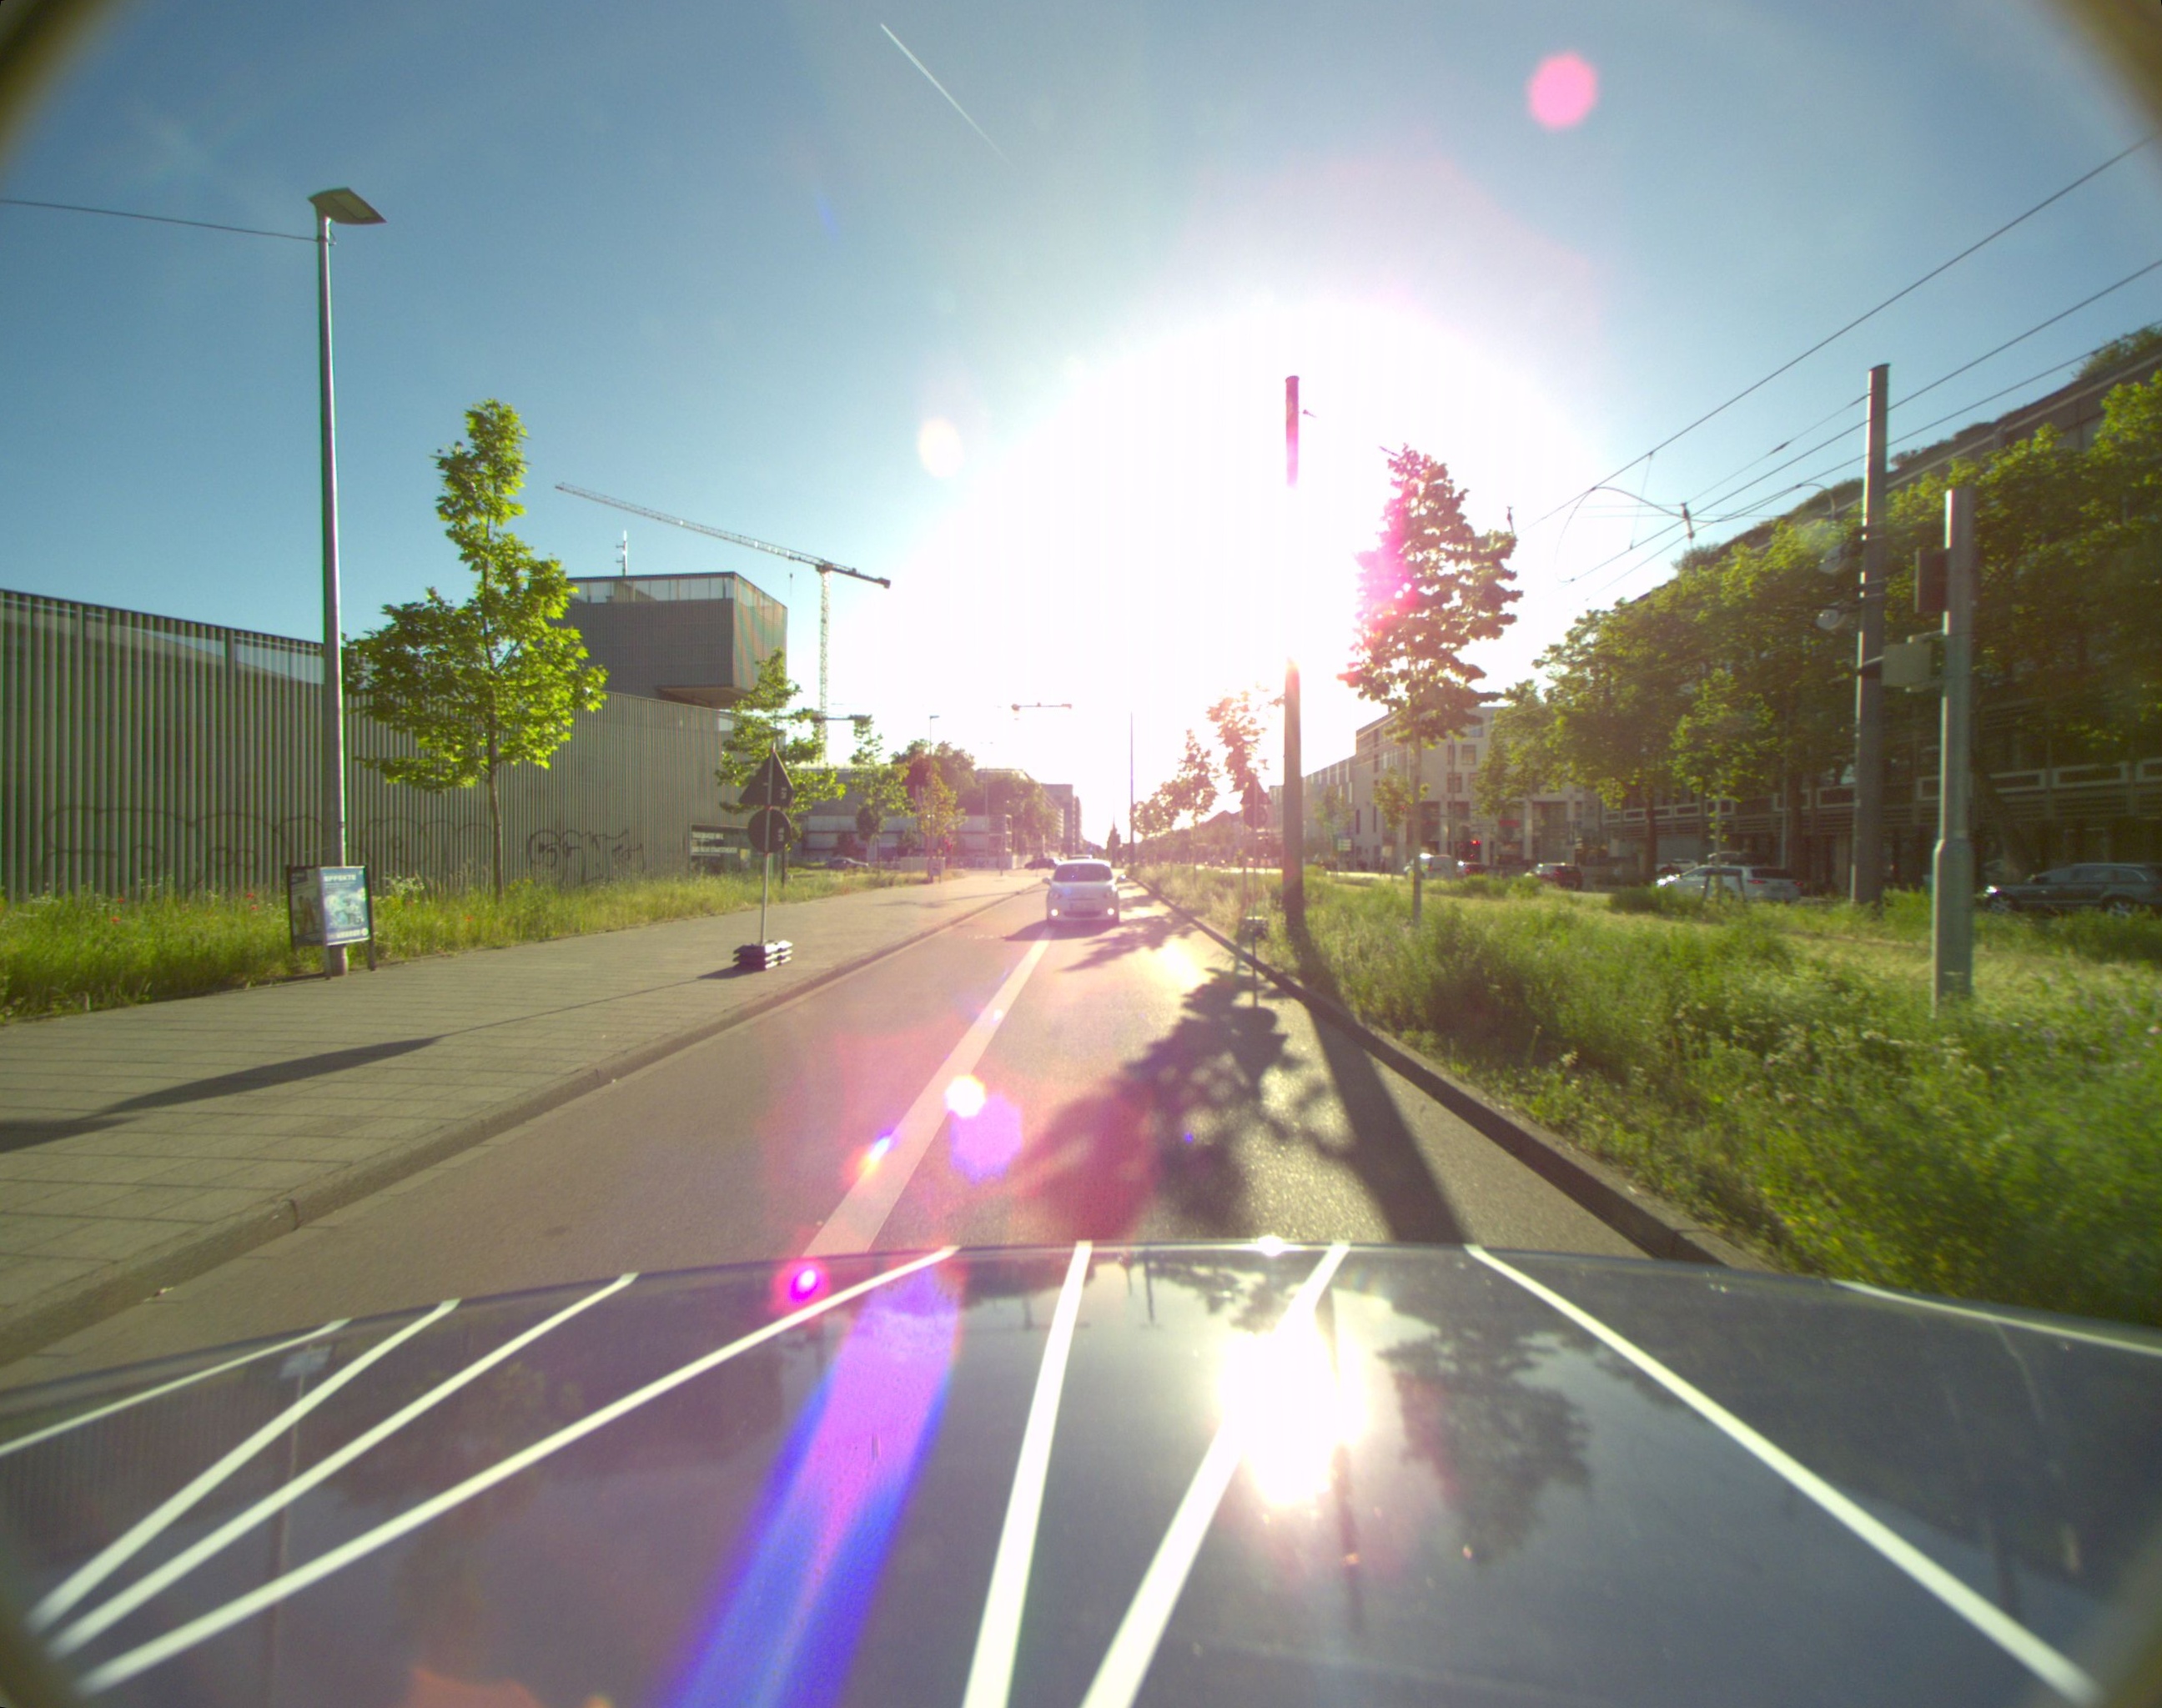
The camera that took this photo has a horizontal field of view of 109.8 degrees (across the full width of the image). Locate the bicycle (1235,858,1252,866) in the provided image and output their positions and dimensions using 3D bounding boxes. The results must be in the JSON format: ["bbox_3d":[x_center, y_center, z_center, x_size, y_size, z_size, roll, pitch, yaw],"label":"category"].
[{"bbox_3d":[20.737,1.060,97.044,1.976,0.991,0.649,-1,0,6],"label":"bicycle"}]

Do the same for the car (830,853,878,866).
[{"bbox_3d":[-23.894,0.578,79.995,4.519,1.344,1.777,0,1,8],"label":"car"}]

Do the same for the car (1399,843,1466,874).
[{"bbox_3d":[24.562,0.311,53.388,2.264,2.002,5.710,2,0,3],"label":"car"}]

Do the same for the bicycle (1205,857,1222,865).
[{"bbox_3d":[17.010,0.939,97.255,2.075,0.973,0.806,-1,1,5],"label":"bicycle"}]

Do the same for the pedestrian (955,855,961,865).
[{"bbox_3d":[-16.896,0.843,104.631,0.653,1.445,0.604,0,1,8],"label":"pedestrian"}]

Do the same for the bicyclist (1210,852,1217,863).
[{"bbox_3d":[16.964,0.475,97.266,0.842,1.394,0.806,-1,1,5],"label":"bicyclist"}]

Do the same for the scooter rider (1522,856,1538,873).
[{"bbox_3d":[41.676,0.991,70.515,1.116,1.535,0.644,0,2,5],"label":"scooter rider"}]

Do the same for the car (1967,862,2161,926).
[{"bbox_3d":[30.895,1.134,23.182,1.999,1.670,4.868,-1,1,-1],"label":"car"}]

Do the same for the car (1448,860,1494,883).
[{"bbox_3d":[27.787,1.233,54.212,1.843,1.477,3.884,3,0,11],"label":"car"}]

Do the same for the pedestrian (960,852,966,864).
[{"bbox_3d":[-16.569,0.569,106.437,0.653,1.670,0.841,0,1,8],"label":"pedestrian"}]

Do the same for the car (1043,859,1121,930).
[{"bbox_3d":[0.131,0.901,18.487,1.659,1.463,3.969,-1,0,3],"label":"car"}]

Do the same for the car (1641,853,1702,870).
[{"bbox_3d":[61.299,0.738,78.958,4.544,1.703,2.126,0,2,11],"label":"car"}]

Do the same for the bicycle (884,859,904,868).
[{"bbox_3d":[-19.179,0.994,78.111,1.909,0.903,0.624,0,1,-3],"label":"bicycle"}]

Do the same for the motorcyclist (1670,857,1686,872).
[{"bbox_3d":[56.576,0.997,72.010,0.880,1.475,0.758,0,1,12],"label":"motorcyclist"}]

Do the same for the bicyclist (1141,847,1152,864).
[{"bbox_3d":[6.102,0.108,70.592,0.895,1.566,0.625,0,1,-9],"label":"bicyclist"}]

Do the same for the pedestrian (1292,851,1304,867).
[{"bbox_3d":[27.802,0.654,97.446,1.100,2.117,1.060,-1,1,-34],"label":"pedestrian"}]

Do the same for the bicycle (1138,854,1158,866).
[{"bbox_3d":[6.166,0.576,69.853,1.800,1.087,0.651,0,0,-9],"label":"bicycle"}]

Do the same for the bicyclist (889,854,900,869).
[{"bbox_3d":[-19.189,0.790,78.108,0.937,1.495,0.624,0,2,-3],"label":"bicyclist"}]

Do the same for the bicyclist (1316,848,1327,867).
[{"bbox_3d":[21.826,0.303,69.012,0.785,1.659,0.702,0,1,7],"label":"bicyclist"}]

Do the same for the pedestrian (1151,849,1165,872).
[{"bbox_3d":[6.311,0.525,62.286,1.049,1.900,1.015,0,1,4],"label":"pedestrian"}]

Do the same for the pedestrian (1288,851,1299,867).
[{"bbox_3d":[27.680,0.657,99.010,0.949,2.111,0.896,0,1,-36],"label":"pedestrian"}]

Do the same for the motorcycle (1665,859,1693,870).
[{"bbox_3d":[56.639,0.998,71.997,1.956,0.963,0.758,0,1,12],"label":"motorcycle"}]

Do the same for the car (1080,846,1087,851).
[{"bbox_3d":[0.687,-1.487,213.402,1.785,1.317,3.999,0,2,1],"label":"car"}]

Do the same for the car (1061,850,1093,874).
[{"bbox_3d":[-0.325,0.558,55.487,1.999,1.652,4.790,0,0,-4],"label":"car"}]

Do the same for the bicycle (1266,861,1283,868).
[{"bbox_3d":[25.477,1.409,100.170,2.073,0.922,0.806,-1,1,12],"label":"bicycle"}]

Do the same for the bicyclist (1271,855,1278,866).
[{"bbox_3d":[25.464,0.853,100.166,0.840,1.349,0.806,-1,1,12],"label":"bicyclist"}]

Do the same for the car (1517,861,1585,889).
[{"bbox_3d":[26.935,1.172,43.647,1.714,1.444,3.576,3,0,2],"label":"car"}]

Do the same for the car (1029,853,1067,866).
[{"bbox_3d":[-3.944,0.673,90.319,4.289,1.571,1.945,0,0,6],"label":"car"}]

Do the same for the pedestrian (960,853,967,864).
[{"bbox_3d":[-16.314,0.640,105.360,0.653,1.580,0.841,0,0,8],"label":"pedestrian"}]

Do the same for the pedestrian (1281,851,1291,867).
[{"bbox_3d":[26.434,0.665,97.923,0.896,2.111,0.949,1,1,40],"label":"pedestrian"}]

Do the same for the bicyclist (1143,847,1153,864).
[{"bbox_3d":[6.173,0.131,69.853,0.847,1.534,0.652,0,1,-8],"label":"bicyclist"}]

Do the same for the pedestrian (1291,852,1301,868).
[{"bbox_3d":[28.626,0.765,101.073,0.948,2.111,0.896,0,1,-28],"label":"pedestrian"}]

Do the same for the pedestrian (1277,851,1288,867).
[{"bbox_3d":[26.321,0.639,99.165,0.948,2.111,0.896,0,1,-27],"label":"pedestrian"}]

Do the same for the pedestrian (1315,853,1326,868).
[{"bbox_3d":[31.519,0.849,99.834,1.025,2.002,0.915,0,1,-32],"label":"pedestrian"}]

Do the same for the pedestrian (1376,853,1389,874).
[{"bbox_3d":[25.436,0.801,64.136,0.739,1.734,0.858,-1,1,0],"label":"pedestrian"}]

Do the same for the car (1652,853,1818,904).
[{"bbox_3d":[22.855,0.791,26.850,1.845,1.585,4.693,1,0,1],"label":"car"}]

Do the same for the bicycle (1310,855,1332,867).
[{"bbox_3d":[21.829,0.624,69.026,1.798,1.087,0.709,0,0,7],"label":"bicycle"}]

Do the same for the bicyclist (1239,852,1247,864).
[{"bbox_3d":[20.726,0.529,97.046,0.940,1.536,0.649,-1,1,6],"label":"bicyclist"}]

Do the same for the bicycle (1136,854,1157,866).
[{"bbox_3d":[6.111,0.564,70.592,1.816,1.110,0.625,0,0,-9],"label":"bicycle"}]

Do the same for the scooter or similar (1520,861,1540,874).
[{"bbox_3d":[41.679,1.225,70.516,1.482,1.169,0.644,0,2,5],"label":"scooter or similar"}]
